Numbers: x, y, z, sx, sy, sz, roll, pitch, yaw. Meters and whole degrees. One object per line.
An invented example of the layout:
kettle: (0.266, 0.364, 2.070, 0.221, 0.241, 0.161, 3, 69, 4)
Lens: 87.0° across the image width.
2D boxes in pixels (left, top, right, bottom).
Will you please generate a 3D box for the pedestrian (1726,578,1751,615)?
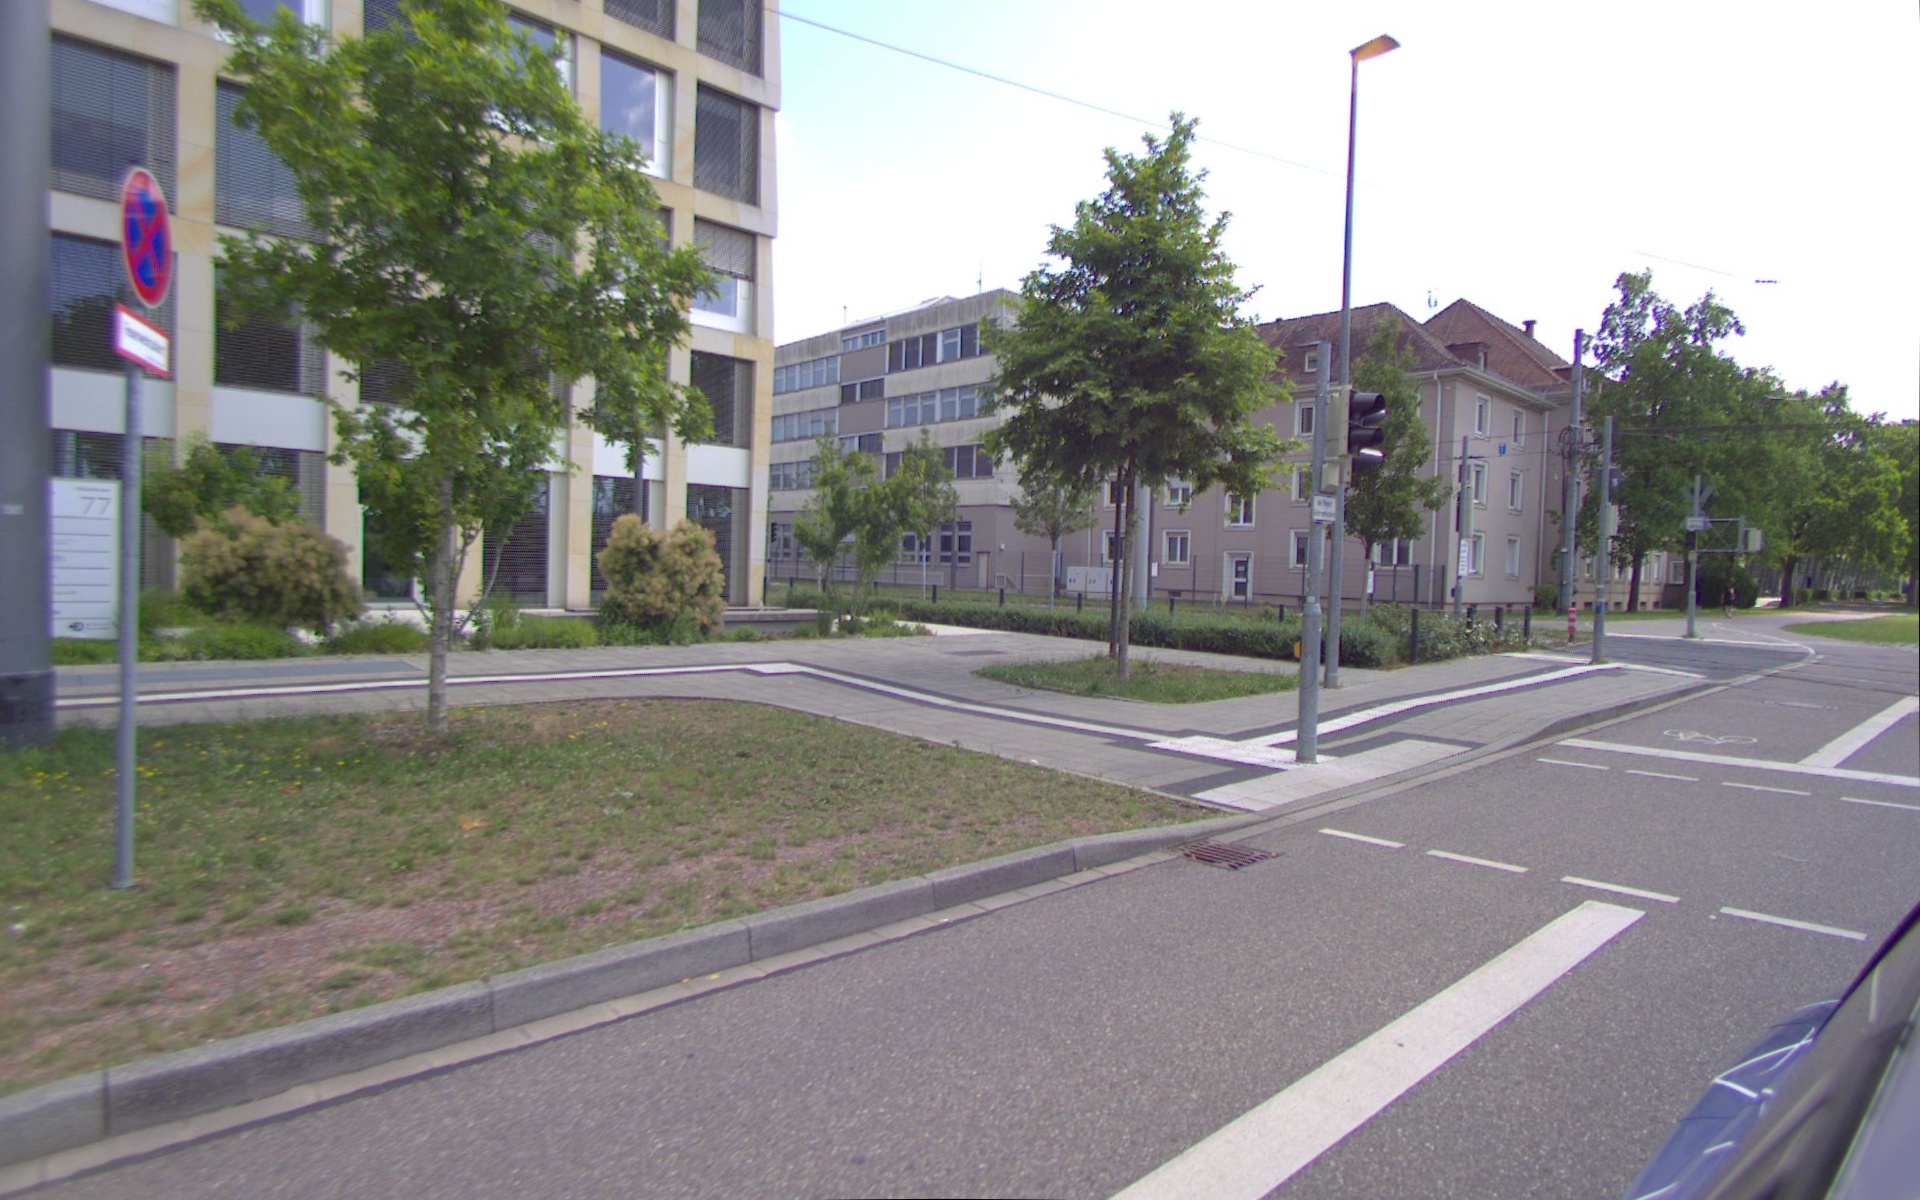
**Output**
pedestrian: (35.601, -0.171, 46.291, 0.612, 1.627, 0.625, 1, 3, -29)
